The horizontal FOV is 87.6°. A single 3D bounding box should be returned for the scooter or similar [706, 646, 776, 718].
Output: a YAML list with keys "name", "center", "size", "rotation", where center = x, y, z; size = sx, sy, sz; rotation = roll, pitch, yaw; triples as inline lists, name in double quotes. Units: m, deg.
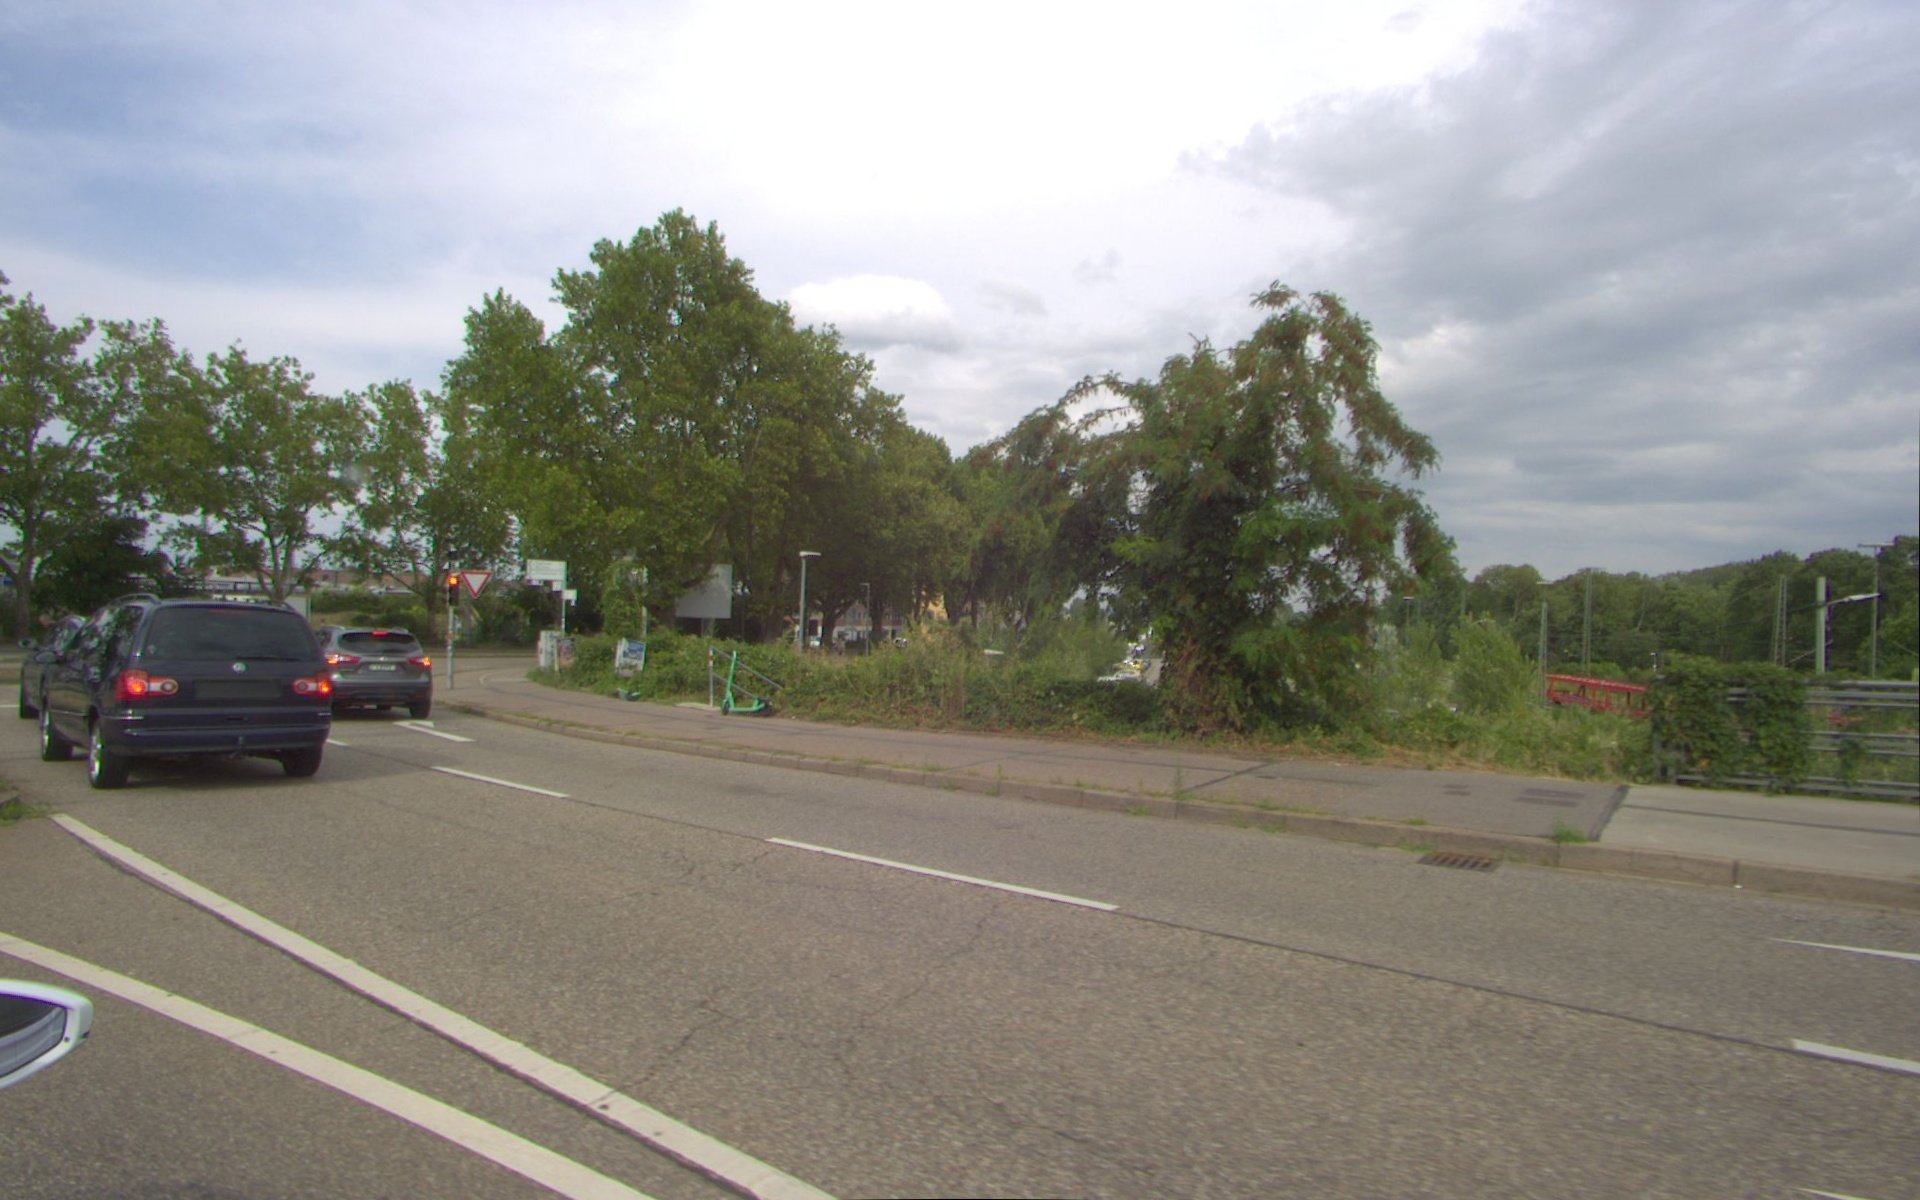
- name: "scooter or similar"
  center: [-3.862, 1.427, 17.639]
  size: [1.261, 1.198, 0.396]
  rotation: [0, -1, 31]

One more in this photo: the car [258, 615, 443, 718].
- name: "car"
  center: [-11.145, 1.163, 18.208]
  size: [4.092, 1.663, 1.743]
  rotation: [-1, -4, 42]

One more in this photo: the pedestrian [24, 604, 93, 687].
- name: "pedestrian"
  center: [-19.572, 0.983, 21.758]
  size: [1.040, 1.732, 0.846]
  rotation: [3, -2, -42]

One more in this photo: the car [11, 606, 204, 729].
- name: "car"
  center: [-12.969, 0.975, 15.153]
  size: [4.111, 1.604, 1.683]
  rotation: [-1, -4, 43]

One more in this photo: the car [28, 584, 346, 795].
- name: "car"
  center: [-8.075, 0.827, 10.333]
  size: [4.090, 1.746, 1.744]
  rotation: [-1, -4, 41]

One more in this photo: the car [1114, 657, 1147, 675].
- name: "car"
  center: [21.569, 8.321, 126.695]
  size: [3.925, 2.040, 1.761]
  rotation: [1, -1, 14]

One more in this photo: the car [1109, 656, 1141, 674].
- name: "car"
  center: [21.366, 8.374, 129.589]
  size: [3.925, 2.040, 1.761]
  rotation: [1, -1, 14]
